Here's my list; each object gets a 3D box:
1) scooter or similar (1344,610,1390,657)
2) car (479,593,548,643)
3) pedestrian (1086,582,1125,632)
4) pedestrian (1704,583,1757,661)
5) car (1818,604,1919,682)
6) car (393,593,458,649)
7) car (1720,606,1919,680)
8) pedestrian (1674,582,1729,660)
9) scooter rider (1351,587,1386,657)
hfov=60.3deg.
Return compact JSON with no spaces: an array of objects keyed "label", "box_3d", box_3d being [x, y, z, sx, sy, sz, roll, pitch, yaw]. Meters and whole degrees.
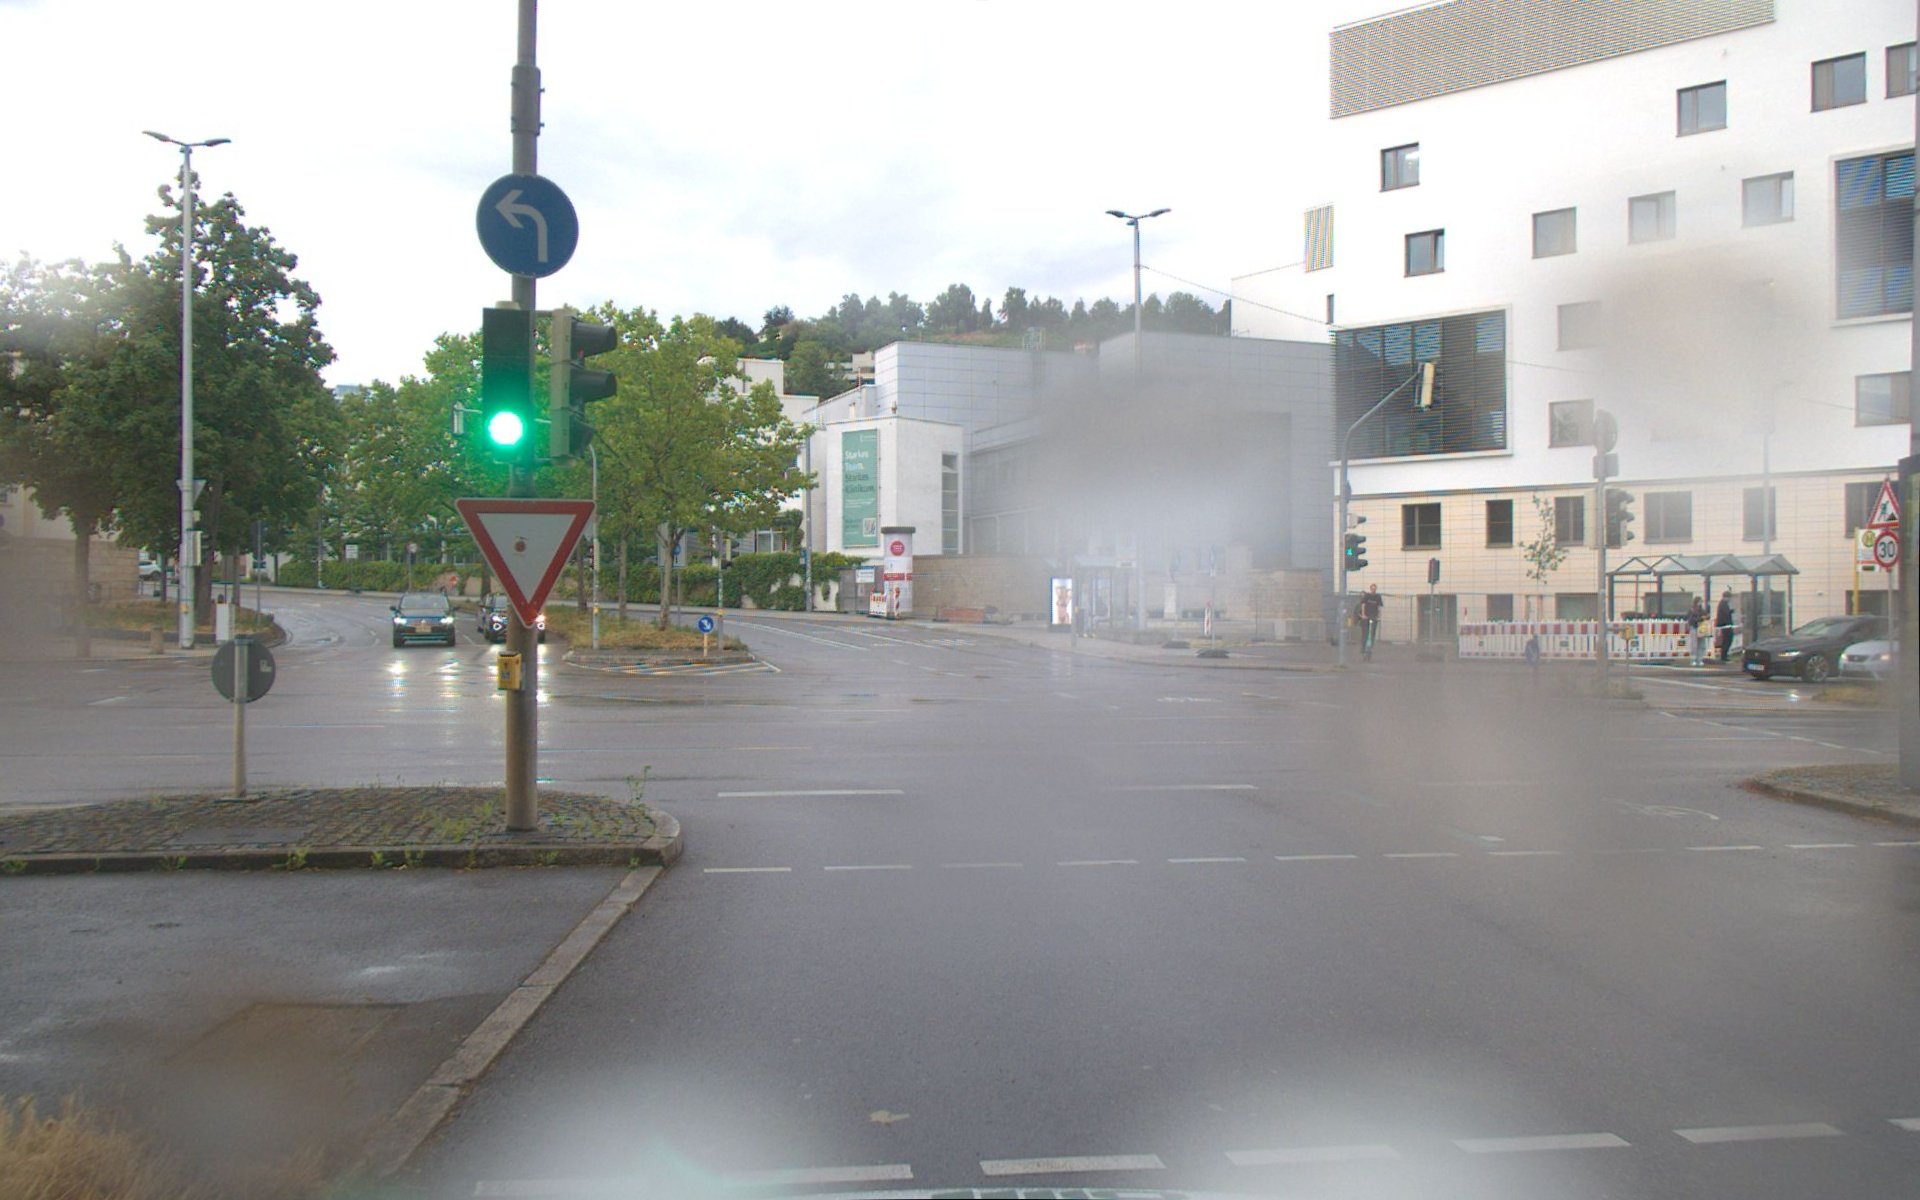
[{"label":"scooter or similar","box_3d":[11.372,0.932,46.237,0.582,1.260,1.305,2,-2,-22]},{"label":"car","box_3d":[-15.033,0.577,55.573,1.764,1.612,3.973,0,0,-22]},{"label":"pedestrian","box_3d":[5.241,0.274,59.572,1.232,1.749,1.016,2,-2,-2]},{"label":"pedestrian","box_3d":[19.987,0.577,42.920,0.980,1.969,0.955,1,-2,9]},{"label":"car","box_3d":[19.622,0.889,33.389,3.921,1.469,1.790,2,0,-16]},{"label":"car","box_3d":[-16.649,0.624,51.562,1.839,1.592,4.255,-1,1,-18]},{"label":"car","box_3d":[18.952,0.940,36.292,3.921,1.469,1.790,2,0,-16]},{"label":"pedestrian","box_3d":[18.186,0.513,40.570,0.934,1.872,0.821,2,-2,-12]},{"label":"scooter rider","box_3d":[11.414,0.611,46.225,0.713,1.916,0.628,2,-2,-21]}]
